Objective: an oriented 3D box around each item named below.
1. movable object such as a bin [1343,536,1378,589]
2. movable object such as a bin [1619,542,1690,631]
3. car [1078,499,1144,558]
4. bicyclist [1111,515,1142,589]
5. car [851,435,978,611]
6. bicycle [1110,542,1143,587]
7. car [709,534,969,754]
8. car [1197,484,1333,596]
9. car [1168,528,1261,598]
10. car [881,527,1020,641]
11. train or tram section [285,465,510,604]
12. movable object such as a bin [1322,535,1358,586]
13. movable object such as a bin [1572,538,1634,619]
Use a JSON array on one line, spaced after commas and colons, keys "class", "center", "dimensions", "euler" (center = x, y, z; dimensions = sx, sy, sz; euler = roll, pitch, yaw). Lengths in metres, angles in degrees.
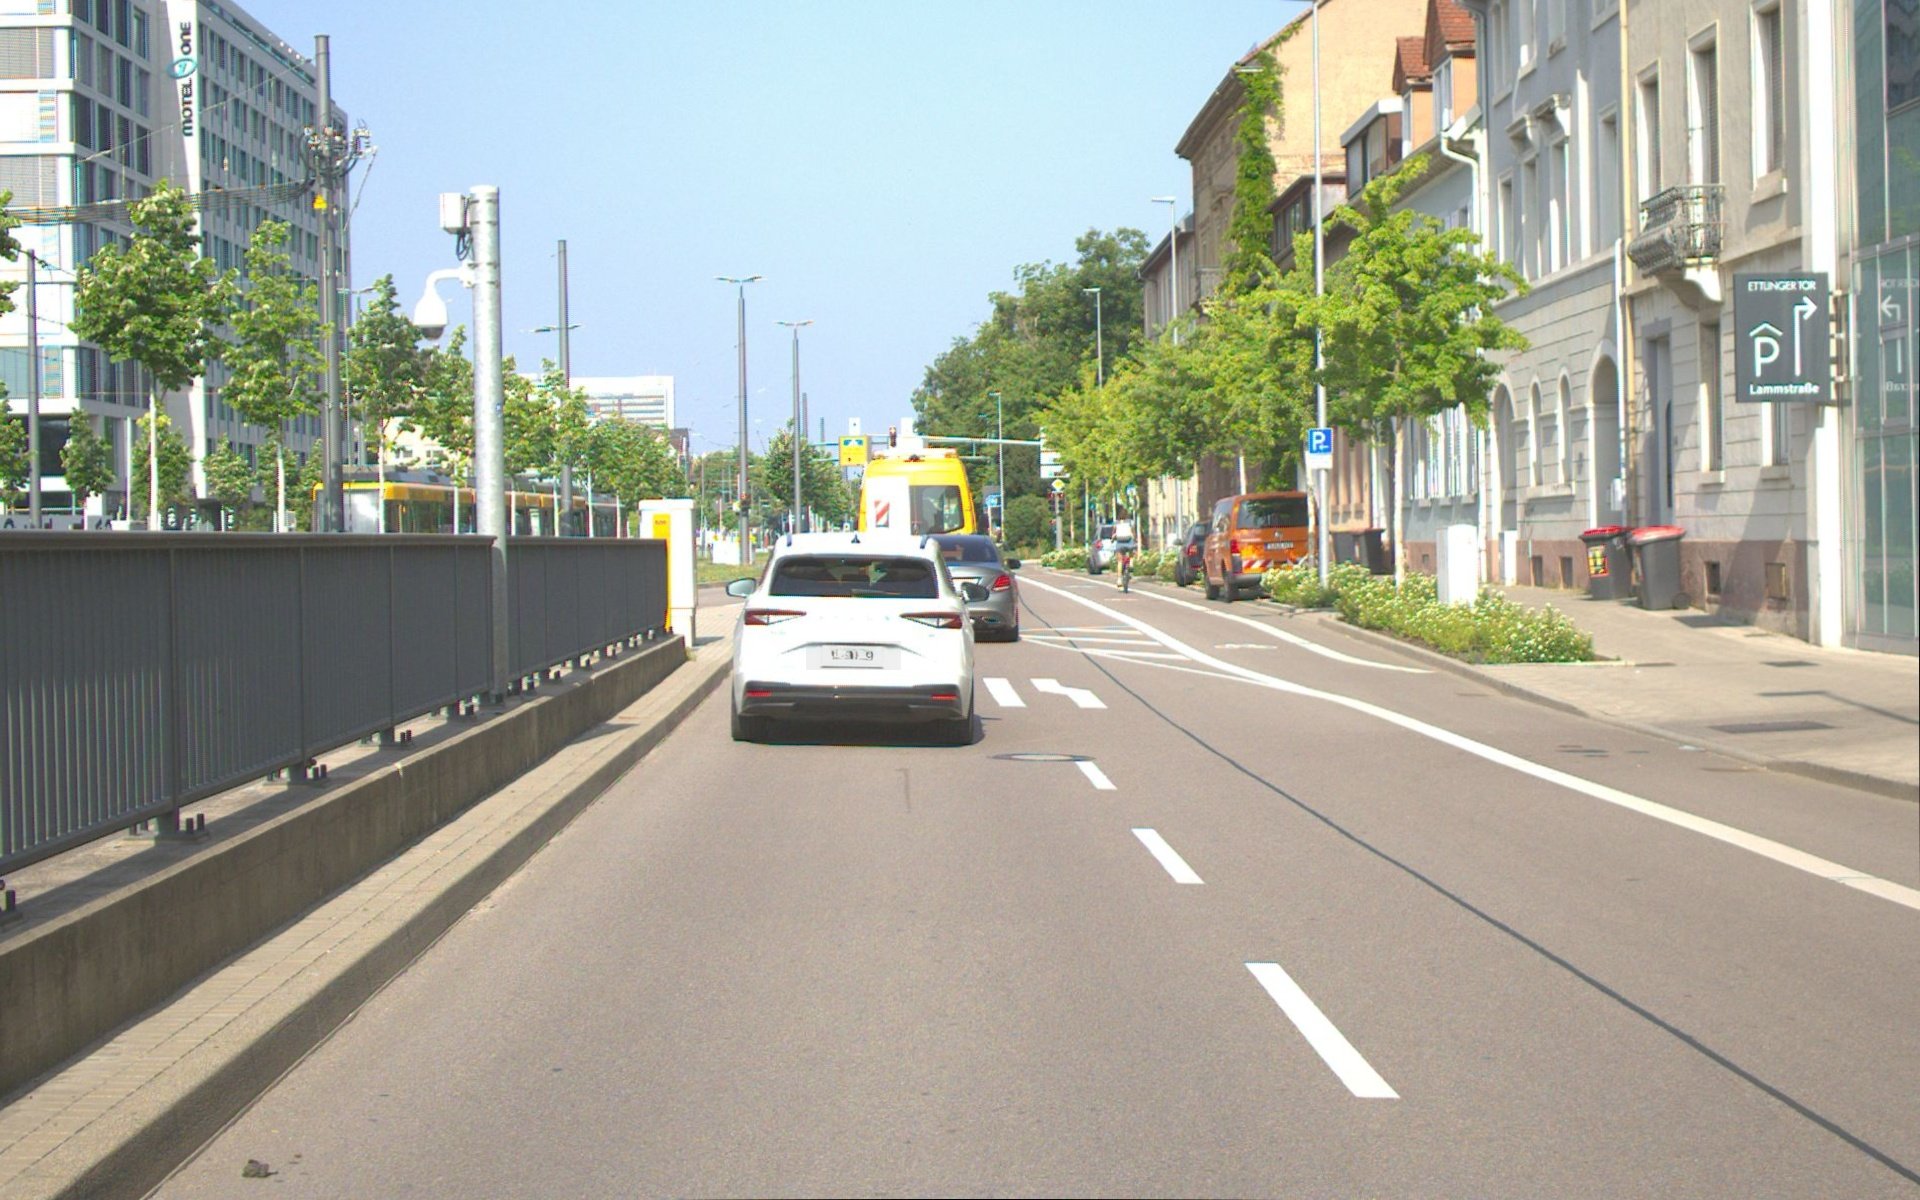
[{"class": "movable object such as a bin", "center": [9.072, -0.849, 77.822], "dimensions": [0.679, 1.196, 0.781], "euler": [0, 1, -1]}, {"class": "movable object such as a bin", "center": [9.531, -0.190, 47.197], "dimensions": [0.781, 1.168, 0.808], "euler": [0, 3, -1]}, {"class": "car", "center": [4.754, -2.270, 108.612], "dimensions": [1.812, 1.806, 3.836], "euler": [0, 1, -1]}, {"class": "bicyclist", "center": [3.553, -1.034, 73.550], "dimensions": [0.639, 1.571, 0.771], "euler": [0, 1, 2]}, {"class": "car", "center": [-0.754, -1.365, 58.078], "dimensions": [2.020, 2.786, 5.402], "euler": [-1, 3, 0]}, {"class": "bicycle", "center": [3.554, -0.761, 73.415], "dimensions": [0.655, 0.935, 1.517], "euler": [0, 1, 2]}, {"class": "car", "center": [-0.892, 0.280, 27.008], "dimensions": [1.870, 1.569, 4.000], "euler": [-1, 1, 0]}, {"class": "car", "center": [5.721, -1.162, 65.047], "dimensions": [2.063, 2.006, 4.589], "euler": [-1, 2, -1]}, {"class": "car", "center": [5.755, -0.841, 78.099], "dimensions": [1.673, 1.478, 4.312], "euler": [-2, 1, -1]}, {"class": "car", "center": [-0.129, -0.246, 46.219], "dimensions": [1.760, 1.431, 4.115], "euler": [1, 1, 0]}, {"class": "train or tram section", "center": [-16.304, -1.875, 101.420], "dimensions": [2.906, 3.663, 18.136], "euler": [1, 1, 2]}, {"class": "movable object such as a bin", "center": [8.929, -0.925, 80.852], "dimensions": [0.740, 1.196, 0.773], "euler": [0, 1, -1]}, {"class": "movable object such as a bin", "center": [9.472, -0.326, 50.617], "dimensions": [0.669, 1.148, 0.617], "euler": [-3, 4, -44]}]
